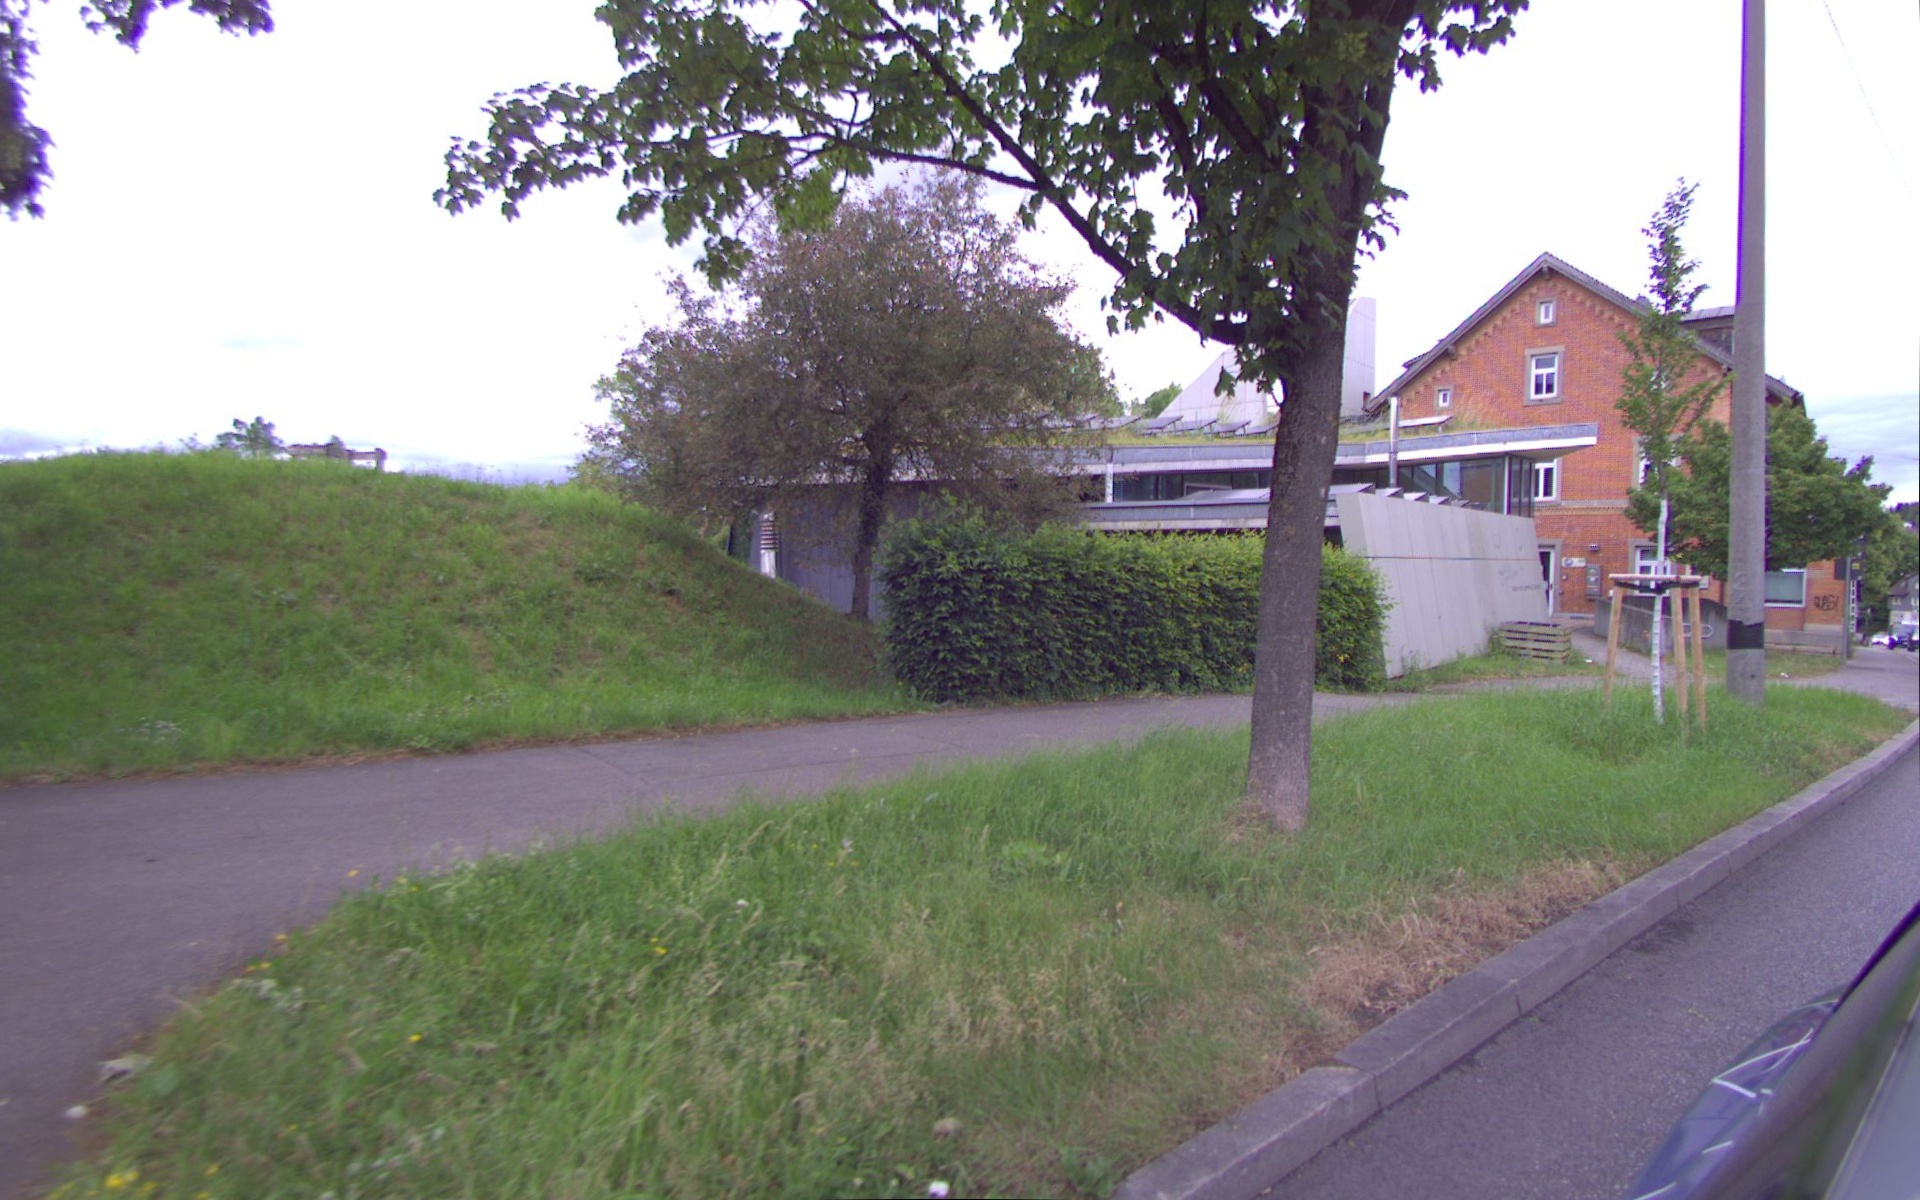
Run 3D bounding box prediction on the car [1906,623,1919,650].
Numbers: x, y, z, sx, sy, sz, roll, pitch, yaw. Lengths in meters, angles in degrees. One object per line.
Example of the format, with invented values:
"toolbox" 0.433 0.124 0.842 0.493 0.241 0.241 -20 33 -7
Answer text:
"car" 68.388 2.602 71.767 1.706 1.710 3.737 2 2 41
